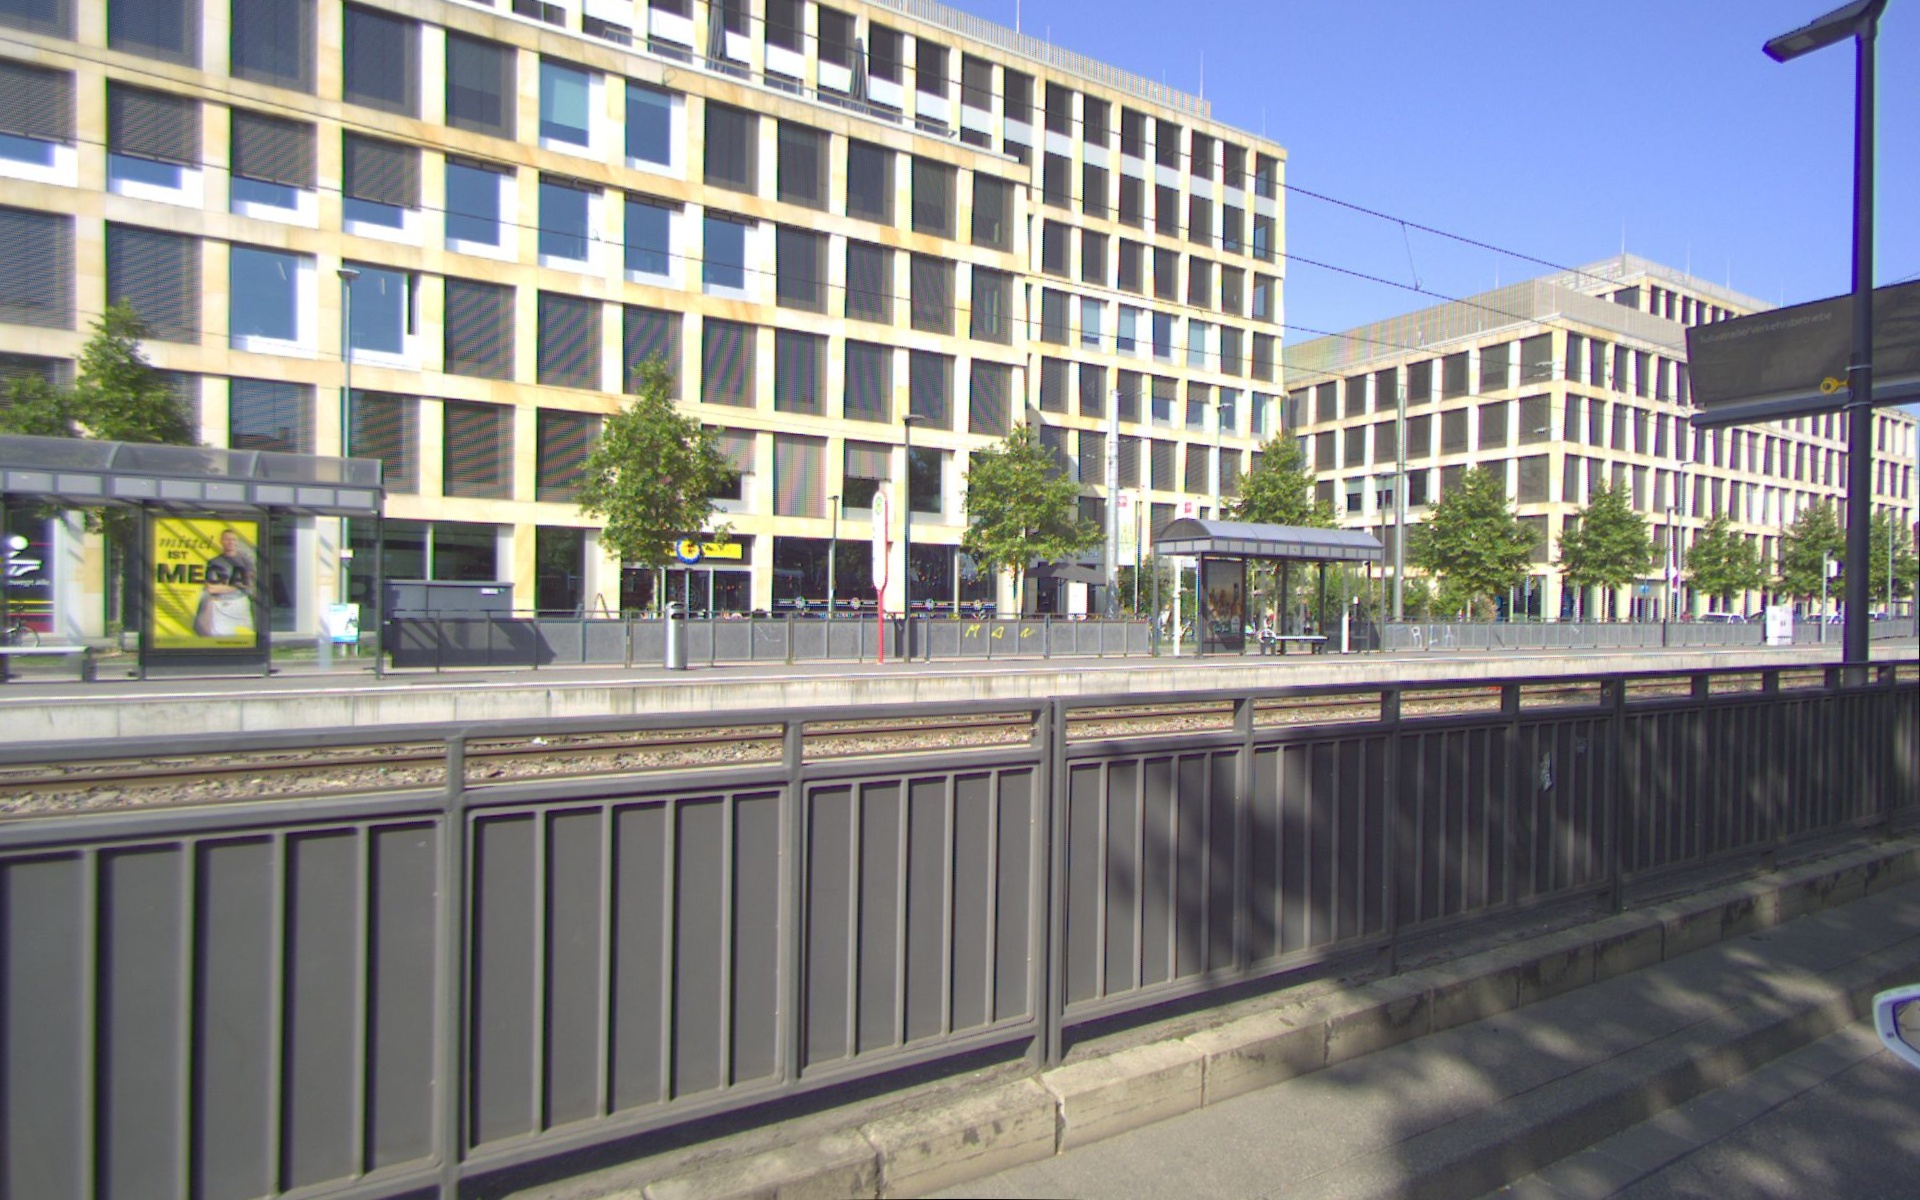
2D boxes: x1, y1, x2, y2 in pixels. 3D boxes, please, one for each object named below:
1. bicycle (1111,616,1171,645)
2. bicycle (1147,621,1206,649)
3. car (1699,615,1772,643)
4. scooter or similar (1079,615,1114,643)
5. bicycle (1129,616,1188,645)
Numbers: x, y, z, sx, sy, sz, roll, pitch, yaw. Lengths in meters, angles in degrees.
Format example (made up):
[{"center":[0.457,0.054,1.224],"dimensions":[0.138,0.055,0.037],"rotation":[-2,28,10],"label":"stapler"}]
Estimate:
[{"center":[6.637,1.100,36.979],"dimensions":[0.812,0.999,2.421],"rotation":[0,0,-31],"label":"bicycle"},{"center":[8.357,1.342,38.848],"dimensions":[0.812,0.999,2.421],"rotation":[0,0,-31],"label":"bicycle"},{"center":[40.791,1.483,52.802],"dimensions":[4.173,1.395,1.634],"rotation":[1,0,-31],"label":"car"},{"center":[4.925,1.034,36.356],"dimensions":[0.390,0.999,1.515],"rotation":[0,0,-31],"label":"scooter or similar"},{"center":[7.467,1.134,37.889],"dimensions":[0.812,0.999,2.421],"rotation":[0,0,-31],"label":"bicycle"}]
